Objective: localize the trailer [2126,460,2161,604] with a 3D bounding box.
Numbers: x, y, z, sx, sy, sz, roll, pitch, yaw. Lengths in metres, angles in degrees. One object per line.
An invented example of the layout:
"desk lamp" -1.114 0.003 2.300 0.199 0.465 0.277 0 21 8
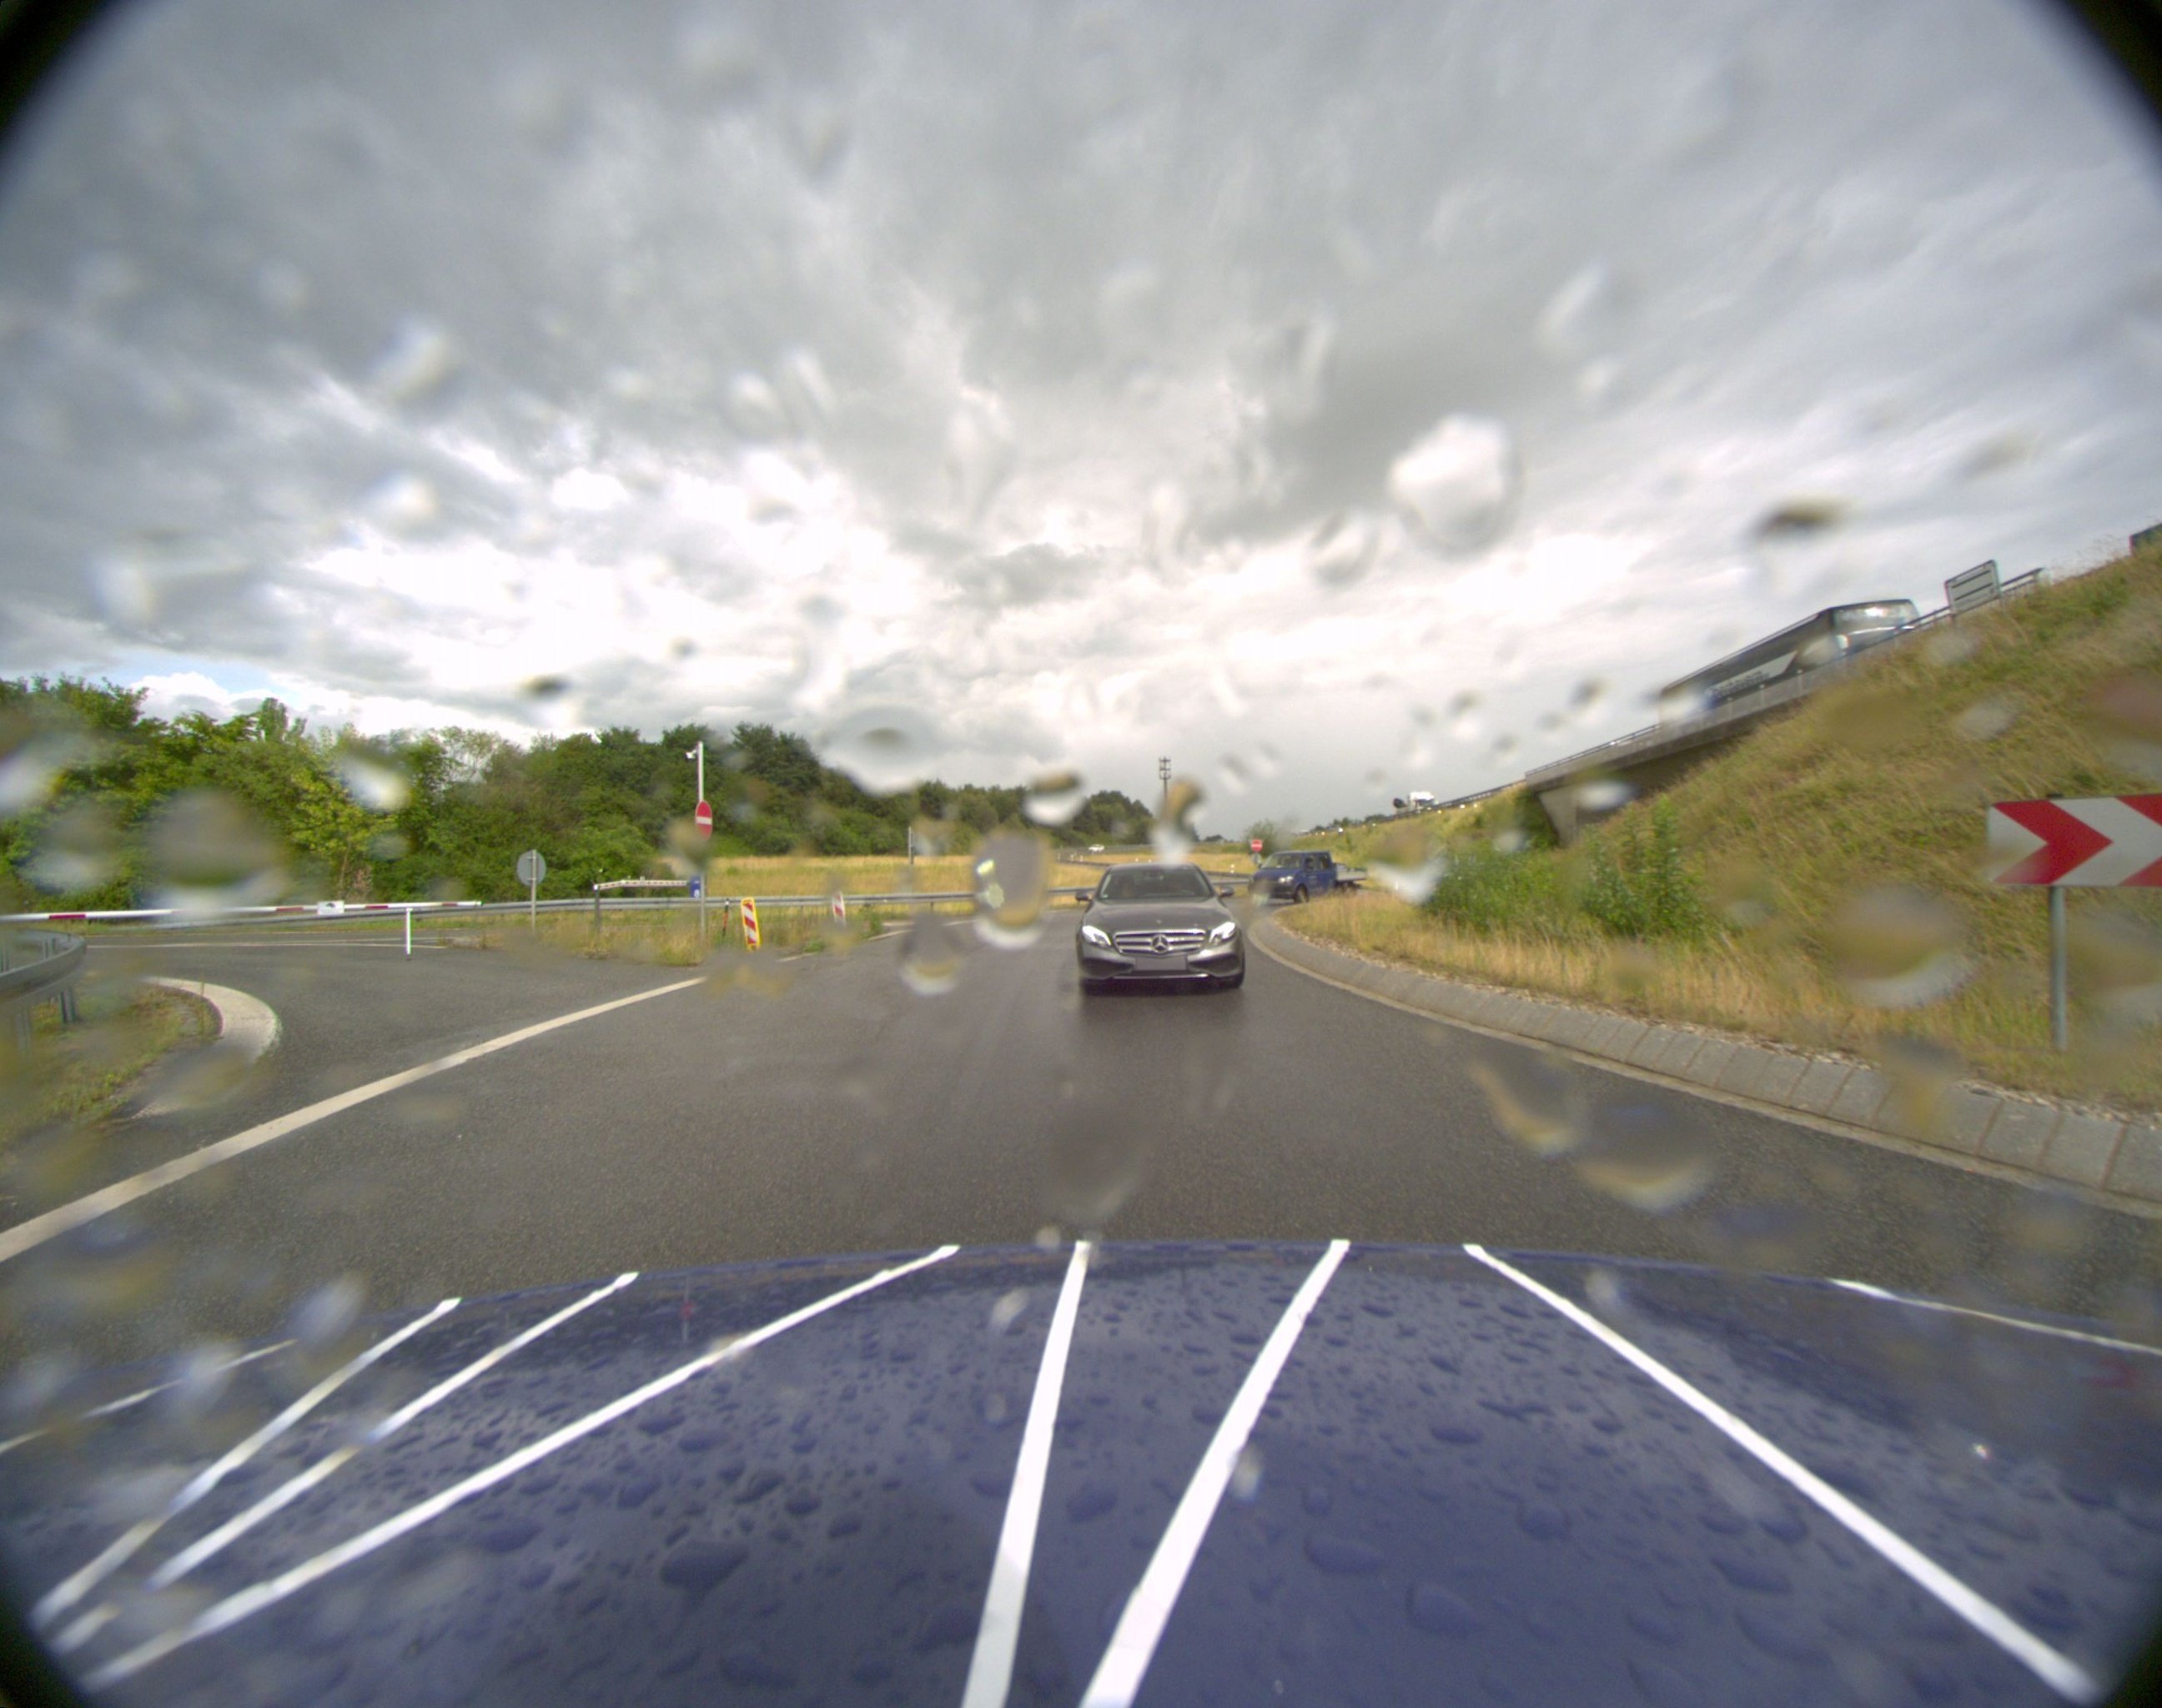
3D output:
"trailer" 23.322 -7.061 12.806 2.183 2.854 8.342 -2 0 18

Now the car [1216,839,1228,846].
"car" 40.327 -3.291 217.399 1.762 1.633 3.902 -2 0 36

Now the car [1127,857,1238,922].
"car" 2.887 0.875 20.818 1.793 1.391 4.356 3 3 24

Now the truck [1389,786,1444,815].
"truck" 44.625 -7.049 101.430 3.159 3.175 9.279 -2 0 1

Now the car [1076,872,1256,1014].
"car" 0.852 0.947 9.842 1.770 1.383 4.592 -1 -2 0

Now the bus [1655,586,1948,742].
"bus" 29.465 -7.380 32.565 2.608 3.061 14.480 -2 0 16

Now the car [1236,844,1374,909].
"car" 8.382 0.784 28.096 5.691 1.904 1.889 -4 1 -39

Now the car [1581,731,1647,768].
"car" 34.741 -6.788 49.628 1.711 1.517 4.497 -12 -2 12

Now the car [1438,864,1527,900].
"car" 18.148 1.216 34.317 3.934 1.527 1.569 0 0 -26
